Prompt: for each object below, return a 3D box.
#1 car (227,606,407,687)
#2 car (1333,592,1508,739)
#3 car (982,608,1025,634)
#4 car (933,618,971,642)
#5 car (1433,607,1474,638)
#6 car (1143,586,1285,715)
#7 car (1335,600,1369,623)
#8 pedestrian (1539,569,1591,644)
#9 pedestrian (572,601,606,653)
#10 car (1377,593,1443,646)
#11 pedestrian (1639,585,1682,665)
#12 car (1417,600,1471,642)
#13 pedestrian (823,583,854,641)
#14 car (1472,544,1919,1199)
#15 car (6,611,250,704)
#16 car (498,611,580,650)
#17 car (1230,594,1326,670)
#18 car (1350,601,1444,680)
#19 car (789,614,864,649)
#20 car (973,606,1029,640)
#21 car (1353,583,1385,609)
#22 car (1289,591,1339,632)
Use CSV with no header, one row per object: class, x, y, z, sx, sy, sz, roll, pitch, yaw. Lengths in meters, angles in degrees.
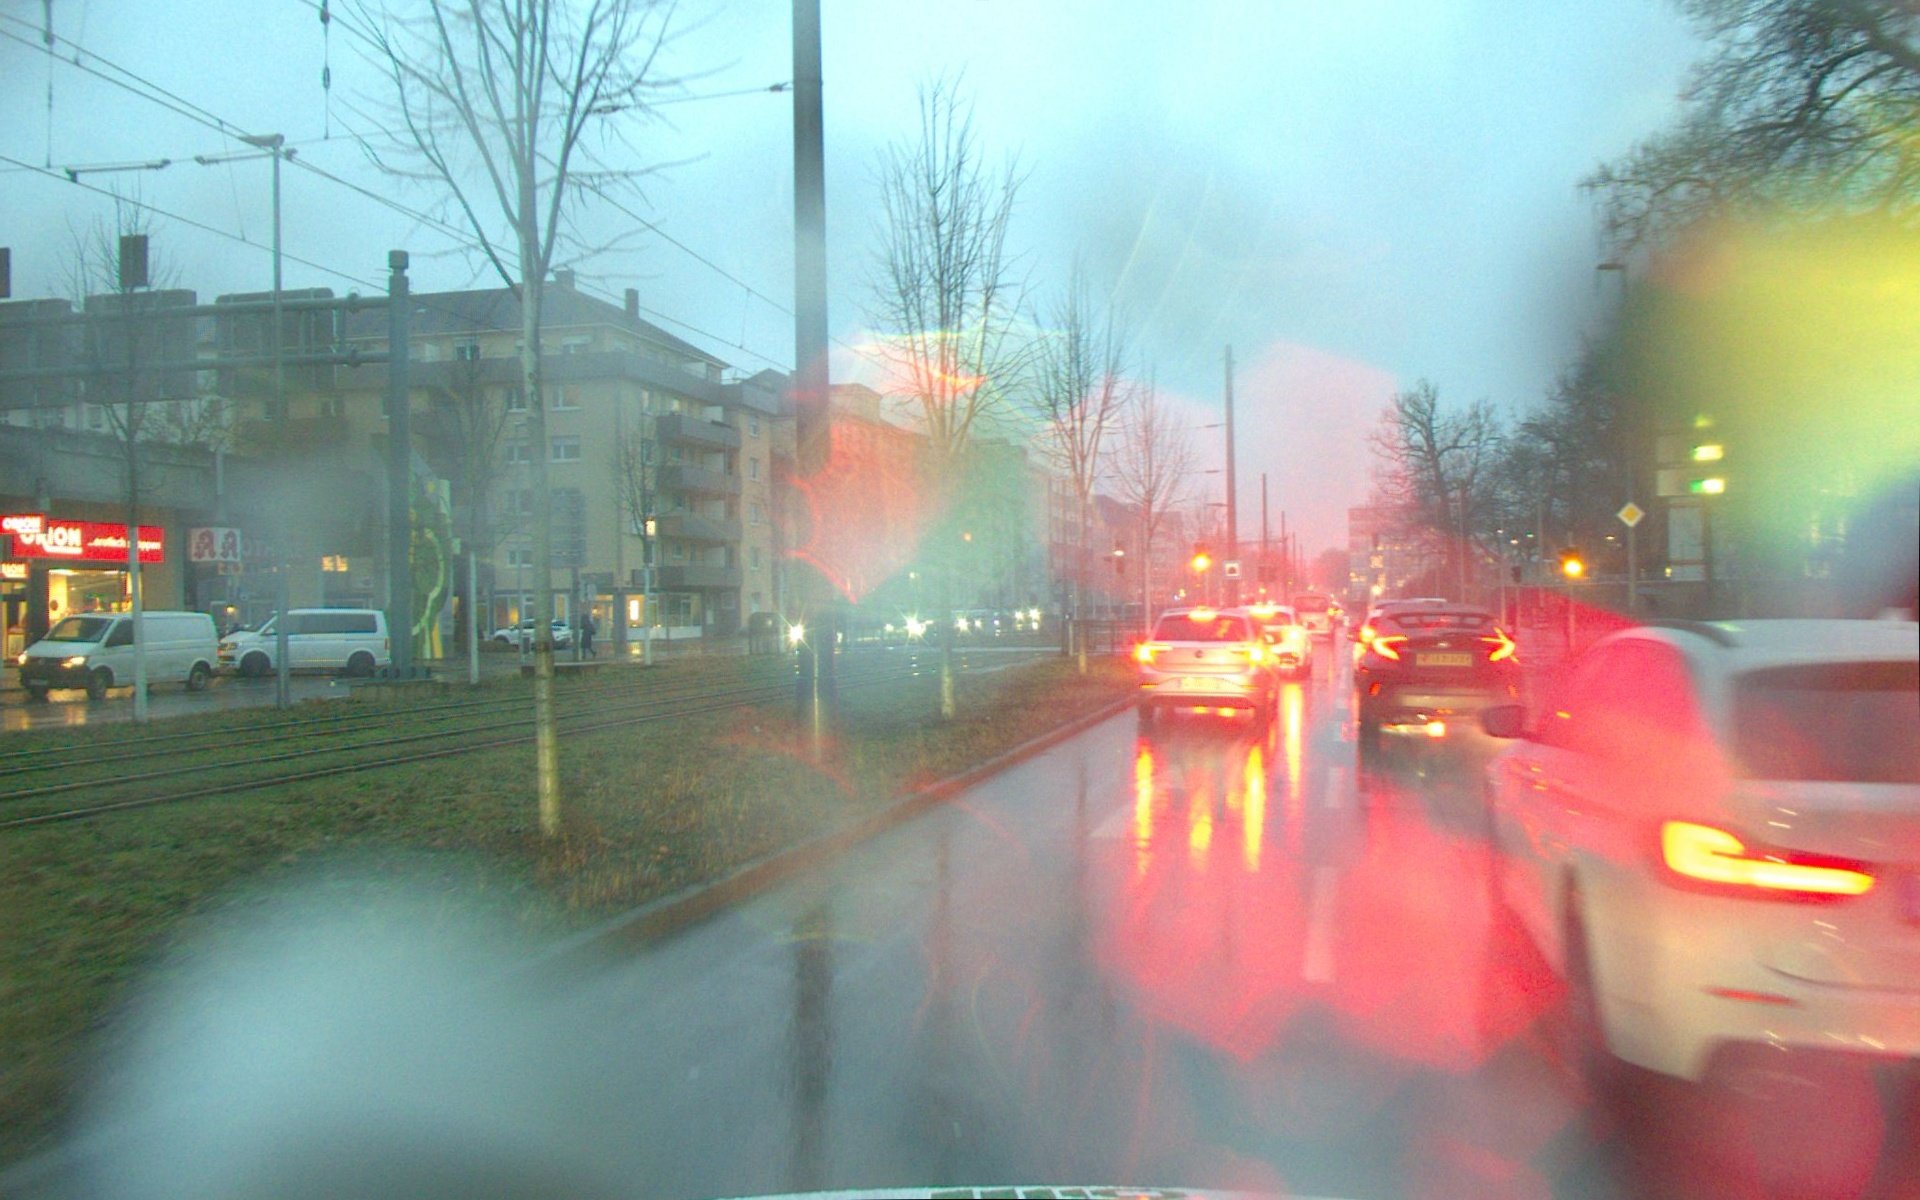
car,-19.243,1.373,49.557,4.769,2.283,1.978,1,0,-32
car,5.328,0.706,19.408,1.761,1.537,3.898,-1,0,14
car,2.854,1.356,107.796,1.908,1.630,4.003,1,0,14
car,-0.468,1.729,96.531,1.655,1.300,4.151,-1,0,8
car,24.575,1.108,82.448,1.700,1.444,3.706,-1,0,14
car,3.490,0.610,22.232,1.657,1.560,4.003,0,0,12
car,23.705,0.687,99.969,1.889,1.311,4.003,1,0,14
pedestrian,16.804,0.172,45.944,0.941,2.049,1.006,-1,0,-8
pedestrian,-15.019,1.074,66.942,1.246,2.049,1.005,-1,0,-10
car,12.926,0.531,47.653,1.700,1.444,3.706,-1,0,14
pedestrian,18.263,0.644,43.128,0.939,2.049,1.008,-1,-1,20
car,17.811,0.758,60.966,1.700,1.444,3.706,-1,0,14
pedestrian,-4.377,0.436,59.545,0.987,2.049,0.959,-1,-1,-12
car,3.041,0.652,6.169,1.823,1.583,4.942,-1,0,14
car,-20.157,1.330,40.418,1.952,2.081,5.567,1,0,18
car,-21.846,1.576,85.968,3.668,1.976,1.843,1,0,6
car,6.879,0.648,35.491,1.760,1.492,4.589,-1,0,14
car,8.689,0.778,33.000,1.708,1.458,3.734,1,0,14
car,-5.490,1.281,68.412,1.819,1.355,4.319,1,0,14
car,2.046,1.116,81.316,1.951,1.630,4.003,1,0,13
car,23.398,-0.218,94.597,1.700,1.444,4.149,-1,0,14
car,13.550,0.423,63.129,1.700,1.444,4.397,-1,0,14
